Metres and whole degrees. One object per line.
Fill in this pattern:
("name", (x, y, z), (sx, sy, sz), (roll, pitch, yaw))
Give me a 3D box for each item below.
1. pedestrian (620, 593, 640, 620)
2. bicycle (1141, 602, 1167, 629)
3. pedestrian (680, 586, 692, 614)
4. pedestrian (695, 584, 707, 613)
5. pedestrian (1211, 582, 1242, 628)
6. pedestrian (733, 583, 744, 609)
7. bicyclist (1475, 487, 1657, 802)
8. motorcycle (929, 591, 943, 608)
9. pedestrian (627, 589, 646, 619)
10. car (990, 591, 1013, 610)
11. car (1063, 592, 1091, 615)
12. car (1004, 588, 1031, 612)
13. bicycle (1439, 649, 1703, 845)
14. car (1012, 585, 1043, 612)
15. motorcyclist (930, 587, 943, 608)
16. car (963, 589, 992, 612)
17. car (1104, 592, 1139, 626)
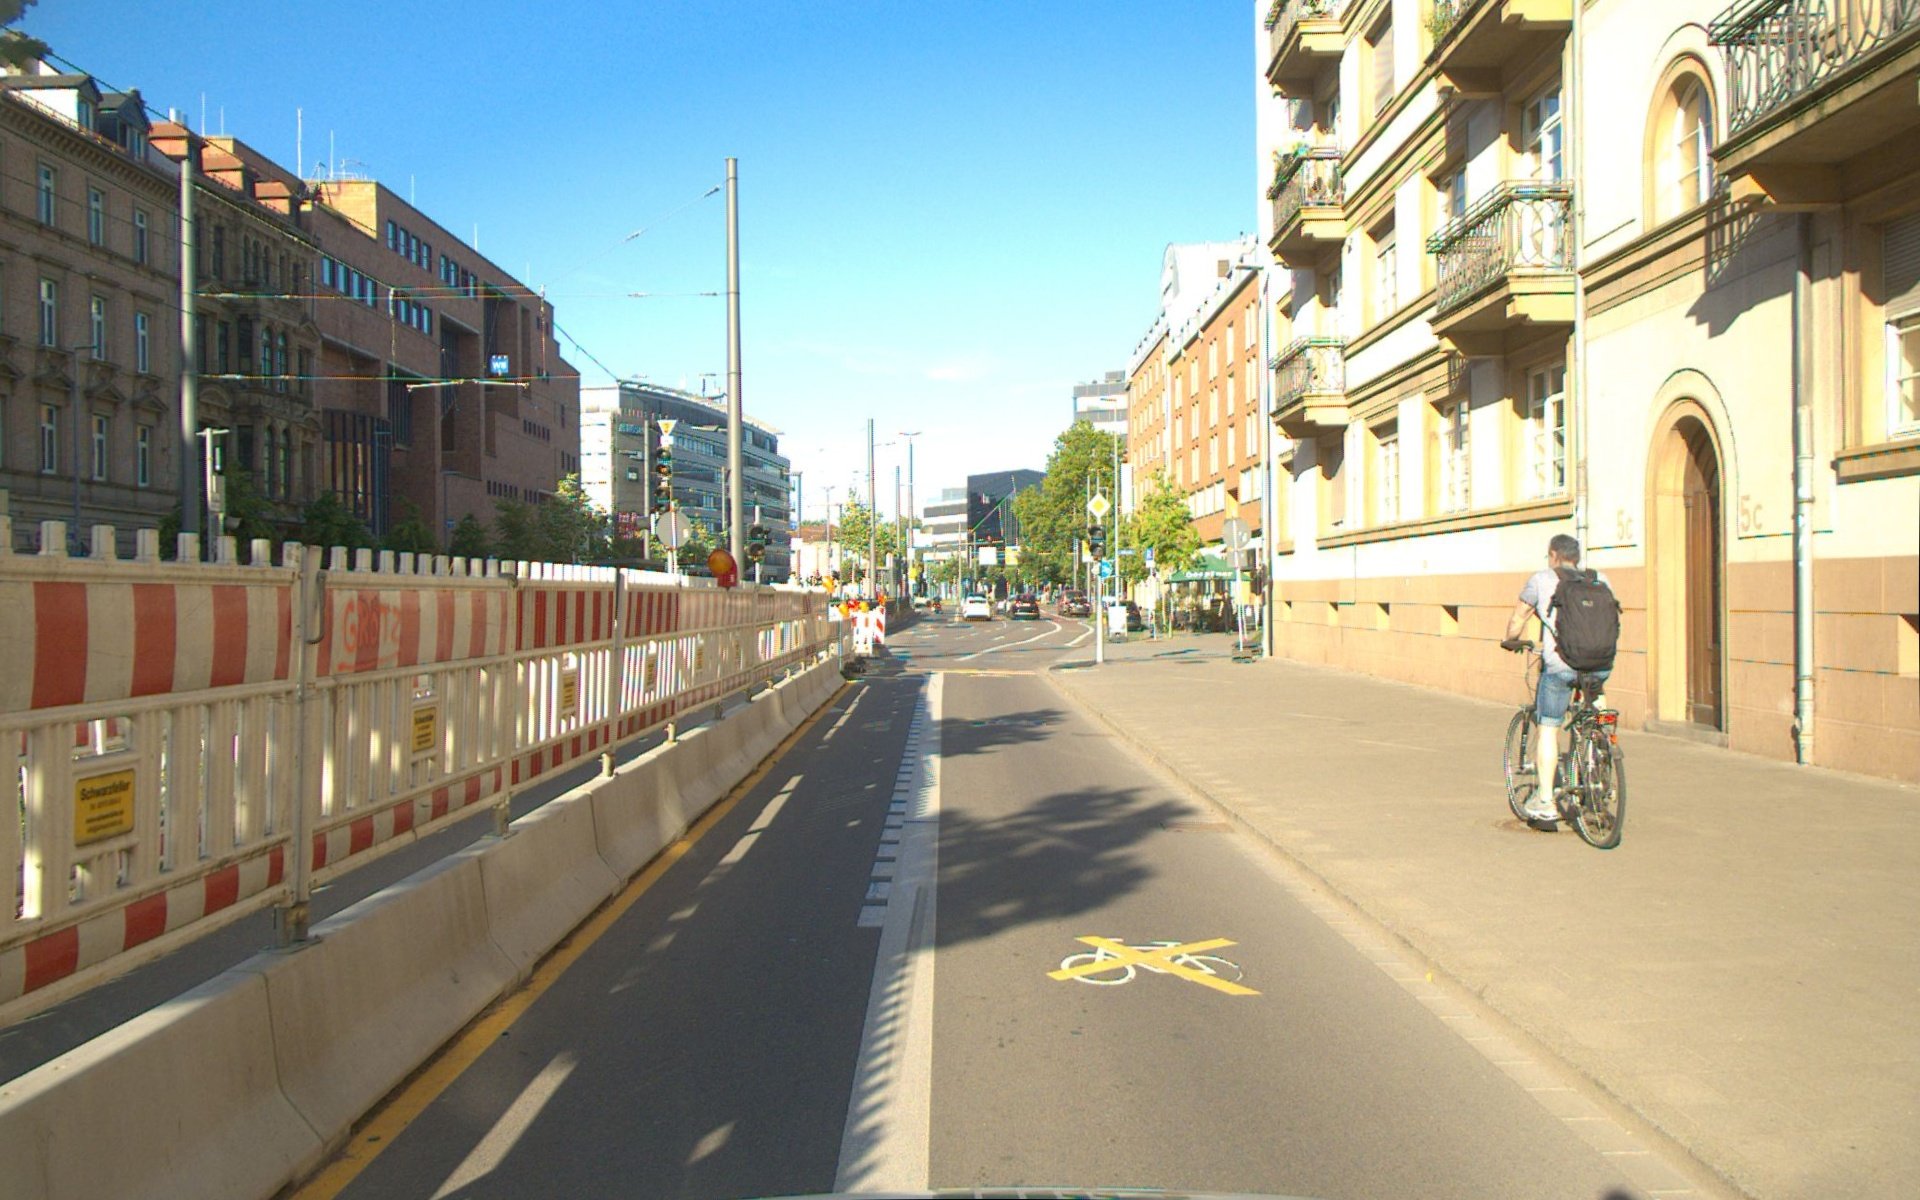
("pedestrian", (-14.656, 0.291, 73.451), (0.706, 1.188, 0.721), (-3, 0, 0))
("bicycle", (8.680, 0.695, 73.999), (0.750, 1.100, 1.996), (-6, -1, -3))
("pedestrian", (-15.186, -0.003, 91.644), (0.528, 1.485, 0.642), (1, 0, 0))
("pedestrian", (-15.782, -0.113, 100.681), (0.610, 1.744, 0.616), (0, 0, 0))
("pedestrian", (10.611, 0.192, 65.790), (0.867, 1.794, 1.104), (-3, -1, 26))
("pedestrian", (-14.612, -0.277, 109.116), (0.627, 1.725, 0.541), (1, 0, 0))
("bicyclist", (3.615, 0.253, 9.935), (0.718, 1.794, 0.937), (-1, 0, -1))
("motorcycle", (-1.912, -0.050, 133.010), (0.998, 1.335, 2.914), (1, 0, 0))
("pedestrian", (-14.760, 0.201, 75.490), (0.633, 1.331, 0.721), (-2, 0, 0))
("car", (3.447, 0.036, 137.532), (1.813, 1.524, 4.379), (0, 1, 0))
("car", (8.830, 0.236, 125.337), (1.809, 1.588, 4.633), (1, 1, 0))
("car", (4.192, -0.013, 120.605), (1.813, 1.668, 4.378), (0, 0, 0))
("bicycle", (3.614, 0.823, 10.021), (0.752, 0.969, 2.198), (-1, 0, -1))
("car", (4.603, -0.131, 113.062), (1.934, 1.790, 4.632), (1, 0, 0))
("motorcyclist", (-1.914, -0.228, 133.064), (0.998, 1.631, 1.148), (1, 0, 0))
("car", (1.119, 0.027, 107.336), (1.744, 1.439, 4.818), (1, 0, 0))
("car", (8.227, 0.437, 83.931), (1.684, 1.665, 4.234), (-1, 0, 6))
